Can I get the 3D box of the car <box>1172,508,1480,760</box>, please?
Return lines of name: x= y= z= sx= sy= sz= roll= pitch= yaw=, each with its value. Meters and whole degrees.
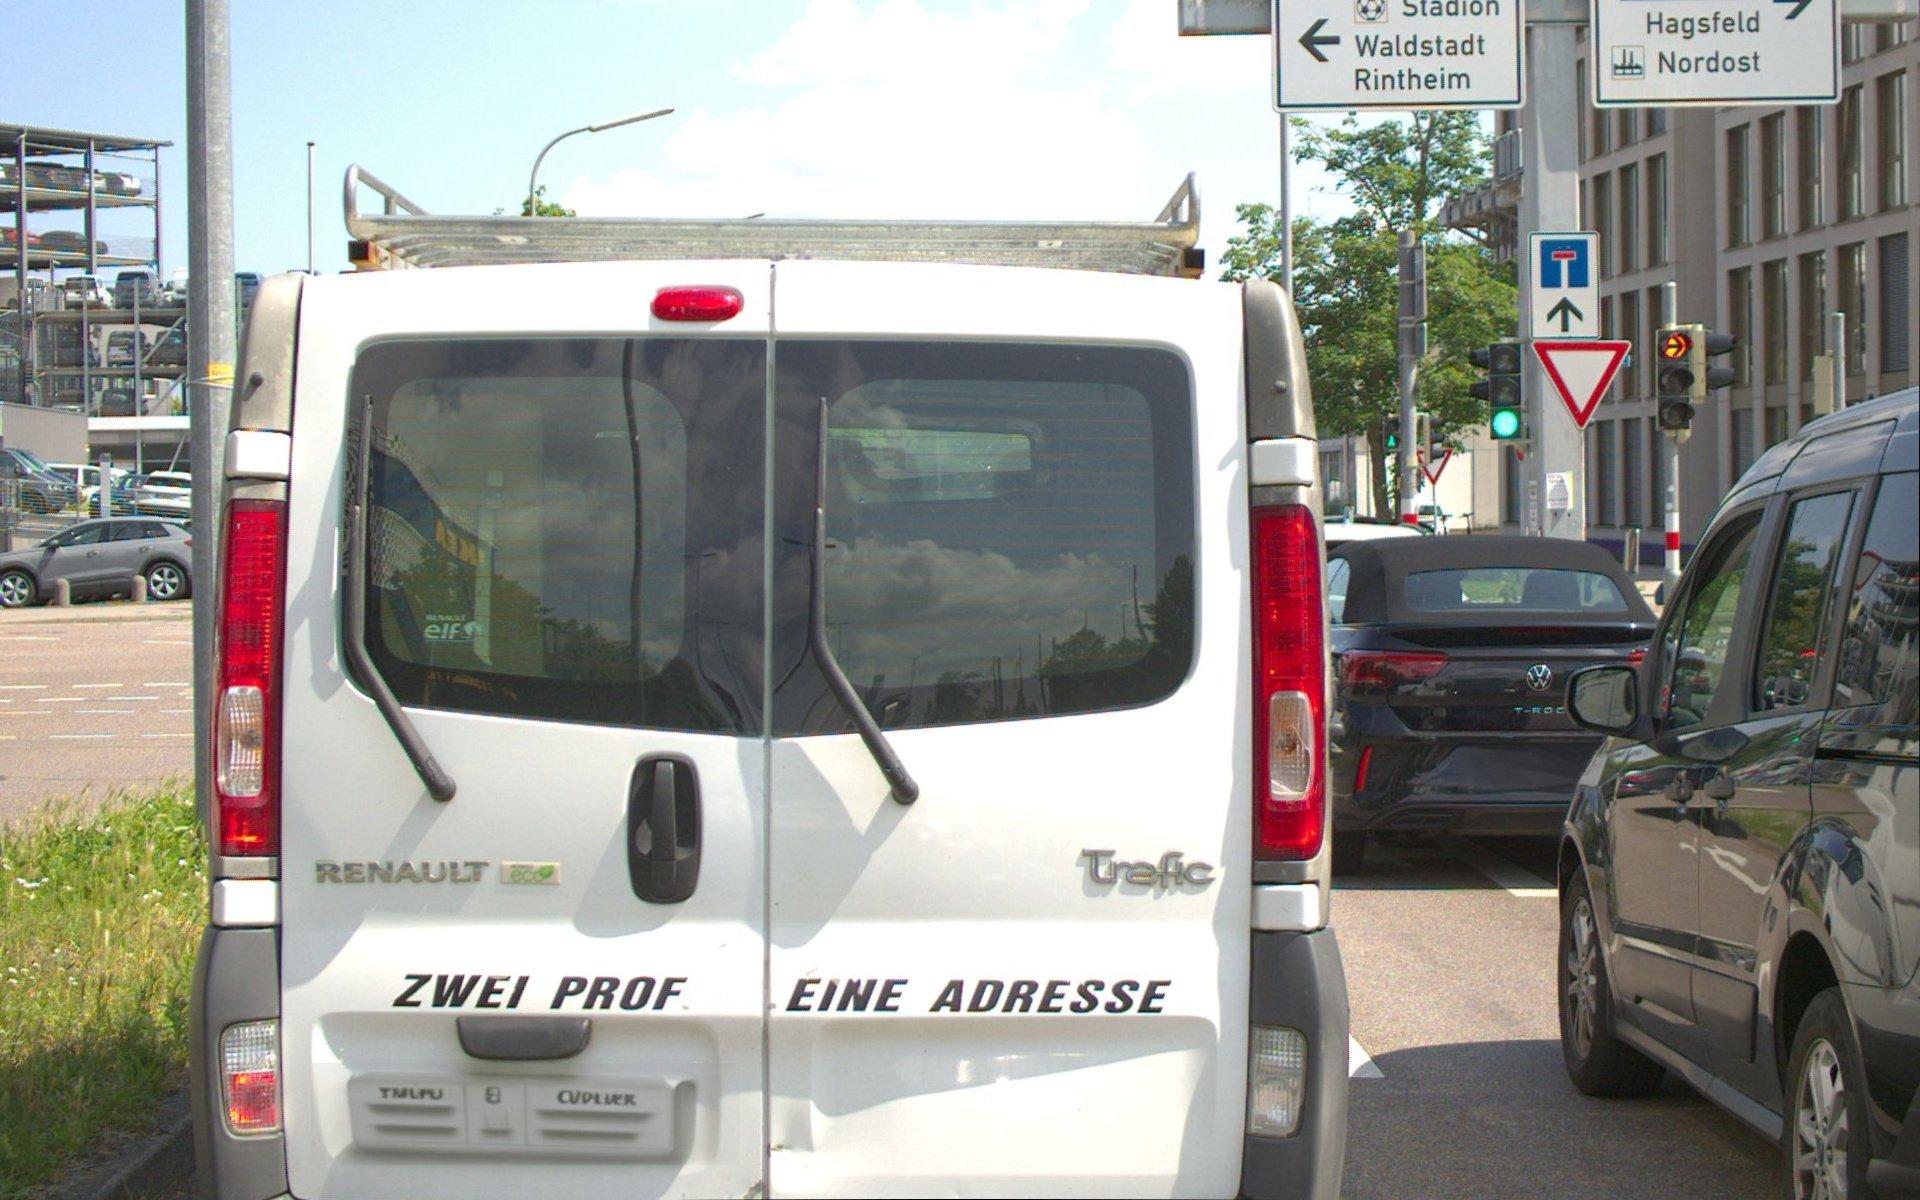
car: x=2.490 y=0.181 z=24.233 sx=1.774 sy=1.624 sz=4.000 roll=0 pitch=1 yaw=1

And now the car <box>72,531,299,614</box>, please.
car: x=-16.990 y=-0.617 z=75.565 sx=4.574 sy=1.672 sz=1.908 roll=-1 pitch=2 yaw=-3

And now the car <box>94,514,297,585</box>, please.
car: x=-18.658 y=-1.229 z=84.022 sx=4.574 sy=1.672 sz=1.907 roll=1 pitch=0 yaw=-3

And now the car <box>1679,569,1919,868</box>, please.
car: x=5.701 y=0.693 z=21.161 sx=1.859 sy=1.650 sz=4.218 roll=1 pitch=-1 yaw=3

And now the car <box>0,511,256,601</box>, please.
car: x=-16.145 y=-0.850 z=66.845 sx=4.574 sy=1.672 sz=1.907 roll=1 pitch=0 yaw=-3

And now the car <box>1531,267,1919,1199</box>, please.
car: x=2.510 y=0.361 z=7.692 sx=1.823 sy=1.898 sz=4.000 roll=0 pitch=1 yaw=1

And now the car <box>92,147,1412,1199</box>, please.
car: x=-0.339 y=0.307 z=7.441 sx=1.973 sy=2.053 sz=4.565 roll=0 pitch=1 yaw=-1

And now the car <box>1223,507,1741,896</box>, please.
car: x=2.337 y=0.386 z=16.380 sx=1.774 sy=1.624 sz=4.000 roll=0 pitch=1 yaw=-1

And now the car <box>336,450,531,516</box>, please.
car: x=-17.716 y=-3.927 z=115.933 sx=6.386 sy=2.095 sz=1.765 roll=1 pitch=0 yaw=-5

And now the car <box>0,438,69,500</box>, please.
car: x=-29.258 y=-3.949 z=103.544 sx=4.440 sy=1.795 sz=1.765 roll=1 pitch=0 yaw=-6

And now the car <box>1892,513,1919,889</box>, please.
car: x=5.153 y=0.463 z=13.415 sx=1.859 sy=1.650 sz=4.219 roll=1 pitch=0 yaw=0

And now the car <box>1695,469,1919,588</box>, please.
car: x=14.643 y=-1.132 z=55.605 sx=4.975 sy=1.831 sz=2.000 roll=1 pitch=0 yaw=-8

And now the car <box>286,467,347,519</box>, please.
car: x=-20.395 y=-3.384 z=108.971 sx=1.560 sy=1.547 sz=3.603 roll=1 pitch=1 yaw=-5

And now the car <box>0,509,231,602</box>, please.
car: x=-16.182 y=-0.836 z=64.676 sx=4.574 sy=1.672 sz=1.907 roll=1 pitch=0 yaw=-3

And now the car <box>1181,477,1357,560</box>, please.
car: x=7.687 y=-2.019 z=85.815 sx=3.986 sy=2.007 sz=2.000 roll=1 pitch=0 yaw=-8

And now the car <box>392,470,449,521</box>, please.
car: x=-17.017 y=-3.293 z=108.527 sx=1.560 sy=1.546 sz=3.603 roll=0 pitch=1 yaw=-5

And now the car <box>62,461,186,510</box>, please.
car: x=-28.170 y=-3.858 z=115.951 sx=3.986 sy=1.547 sz=1.765 roll=1 pitch=0 yaw=-12
